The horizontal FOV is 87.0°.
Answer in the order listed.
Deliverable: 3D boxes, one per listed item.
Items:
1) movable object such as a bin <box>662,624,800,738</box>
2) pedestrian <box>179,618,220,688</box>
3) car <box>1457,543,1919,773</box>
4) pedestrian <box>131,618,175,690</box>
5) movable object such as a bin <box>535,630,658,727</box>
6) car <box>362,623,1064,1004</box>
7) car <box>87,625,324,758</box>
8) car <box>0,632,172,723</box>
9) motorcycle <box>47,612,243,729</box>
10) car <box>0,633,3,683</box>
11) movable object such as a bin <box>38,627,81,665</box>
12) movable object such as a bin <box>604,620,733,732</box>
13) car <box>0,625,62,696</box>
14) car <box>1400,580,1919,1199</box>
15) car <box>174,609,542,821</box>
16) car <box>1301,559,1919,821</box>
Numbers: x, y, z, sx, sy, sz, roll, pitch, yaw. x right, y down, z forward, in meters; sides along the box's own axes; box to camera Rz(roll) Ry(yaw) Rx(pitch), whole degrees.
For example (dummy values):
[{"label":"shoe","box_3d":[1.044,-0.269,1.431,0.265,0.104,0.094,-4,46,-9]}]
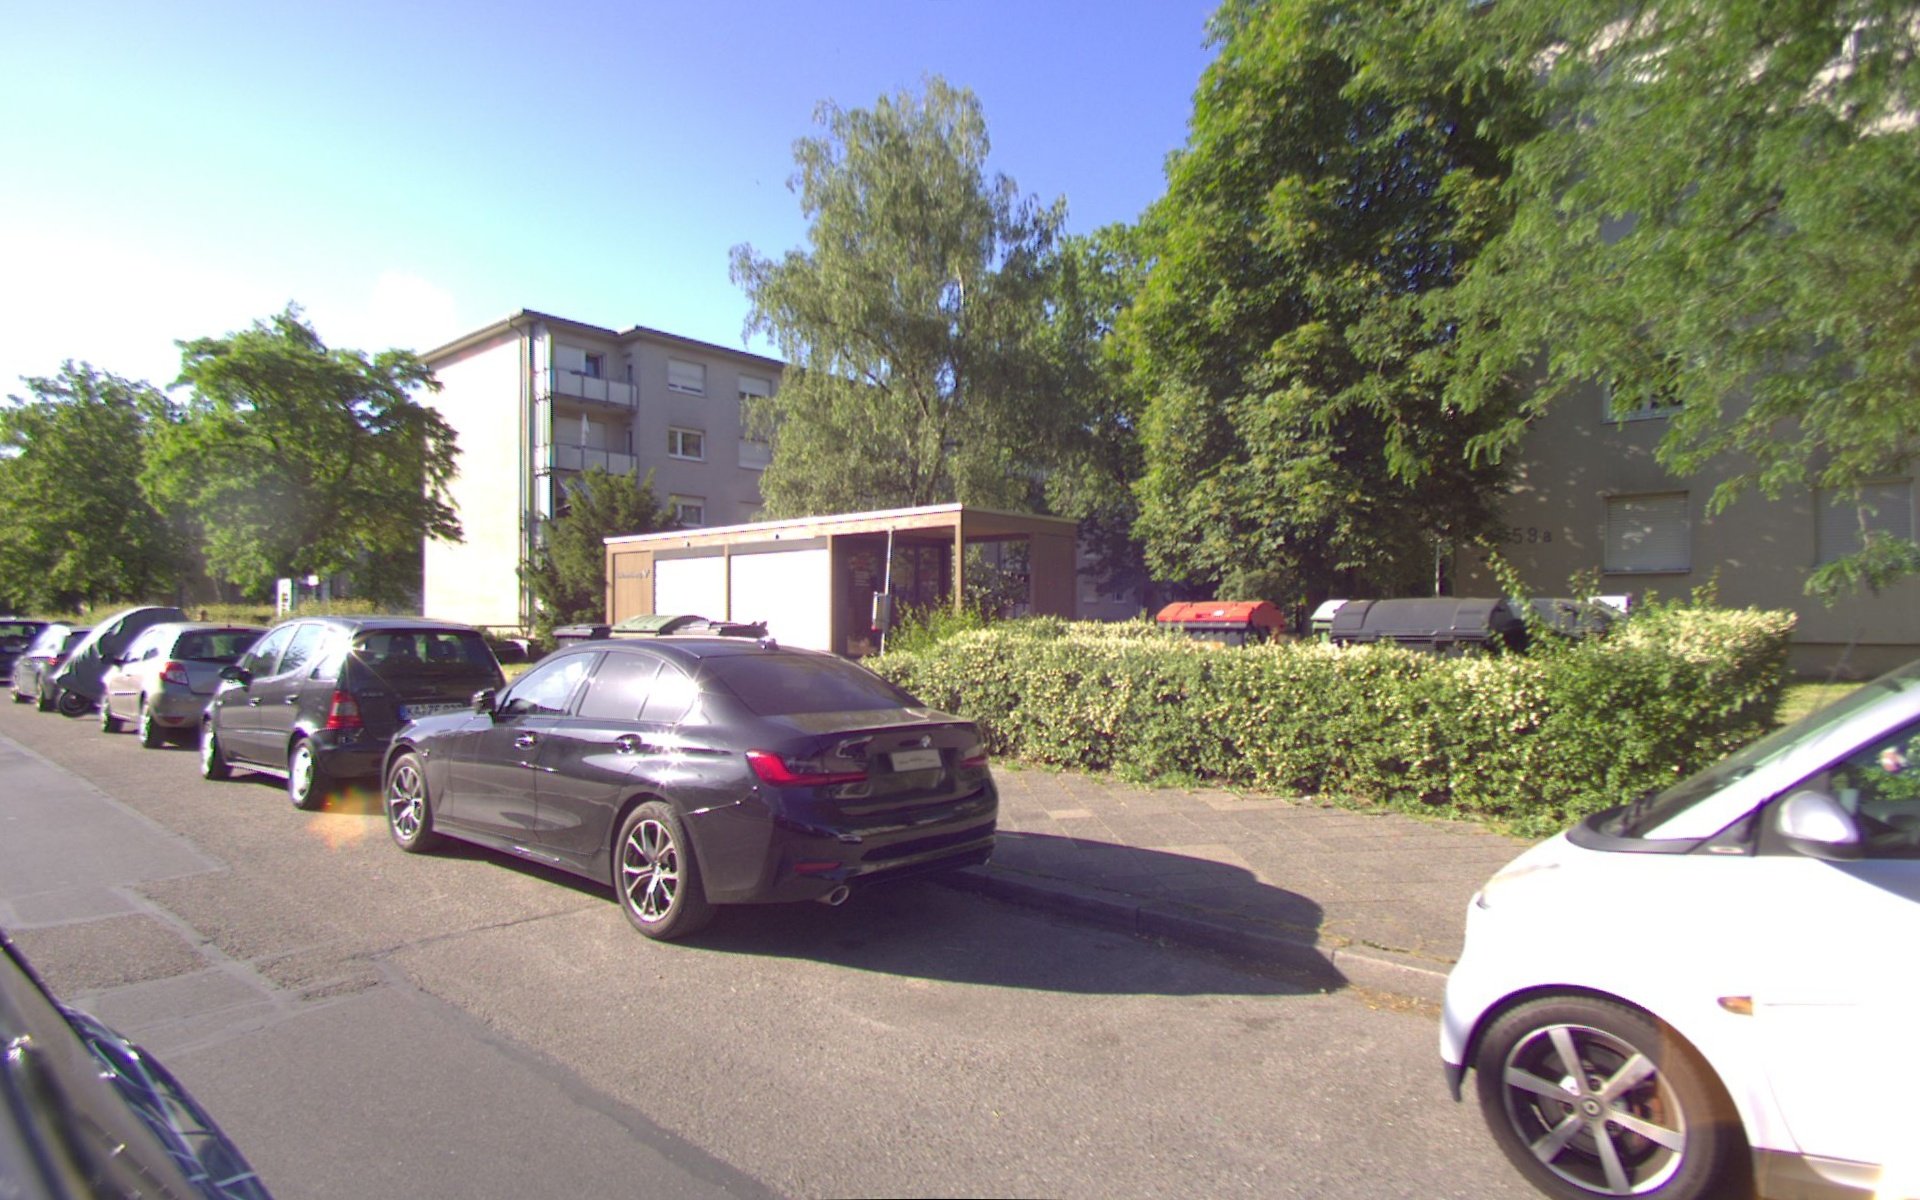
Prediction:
[{"label":"movable object such as a bin","box_3d":[-2.949,0.995,13.036,1.343,1.350,1.165,-2,-1,42]},{"label":"pedestrian","box_3d":[-18.712,1.284,24.902,0.599,1.692,0.713,-2,-1,40]},{"label":"car","box_3d":[6.563,0.432,8.555,3.995,1.653,1.555,-1,-1,39]},{"label":"pedestrian","box_3d":[-19.331,1.285,24.246,0.616,1.692,0.713,-2,-1,40]},{"label":"movable object such as a bin","box_3d":[-5.245,1.089,14.612,1.342,1.297,1.165,-2,-1,41]},{"label":"car","box_3d":[-1.745,0.917,6.120,4.533,1.492,1.737,-1,-4,39]},{"label":"car","box_3d":[-10.058,1.107,13.389,3.958,1.492,1.735,-1,-4,42]},{"label":"car","box_3d":[-15.804,1.315,18.184,4.266,1.432,1.736,-1,-4,40]},{"label":"motorcycle","box_3d":[-13.045,1.114,16.281,0.931,1.740,2.235,-1,-4,37]},{"label":"car","box_3d":[-28.816,1.639,28.957,4.210,1.436,1.735,-1,-3,42]},{"label":"movable object such as a bin","box_3d":[-35.567,1.806,39.970,1.325,1.425,0.992,-1,1,39]},{"label":"movable object such as a bin","box_3d":[-4.012,1.002,13.908,1.342,1.419,1.165,-2,-1,41]},{"label":"car","box_3d":[-23.711,1.444,24.914,4.367,1.648,1.736,-1,-4,40]},{"label":"car","box_3d":[2.861,0.776,2.318,3.139,1.586,1.430,-1,-4,39]},{"label":"car","box_3d":[-5.704,0.931,9.457,3.716,1.586,1.737,-1,-4,39]},{"label":"car","box_3d":[4.820,0.549,7.583,3.995,1.537,1.555,-1,-1,39]}]
